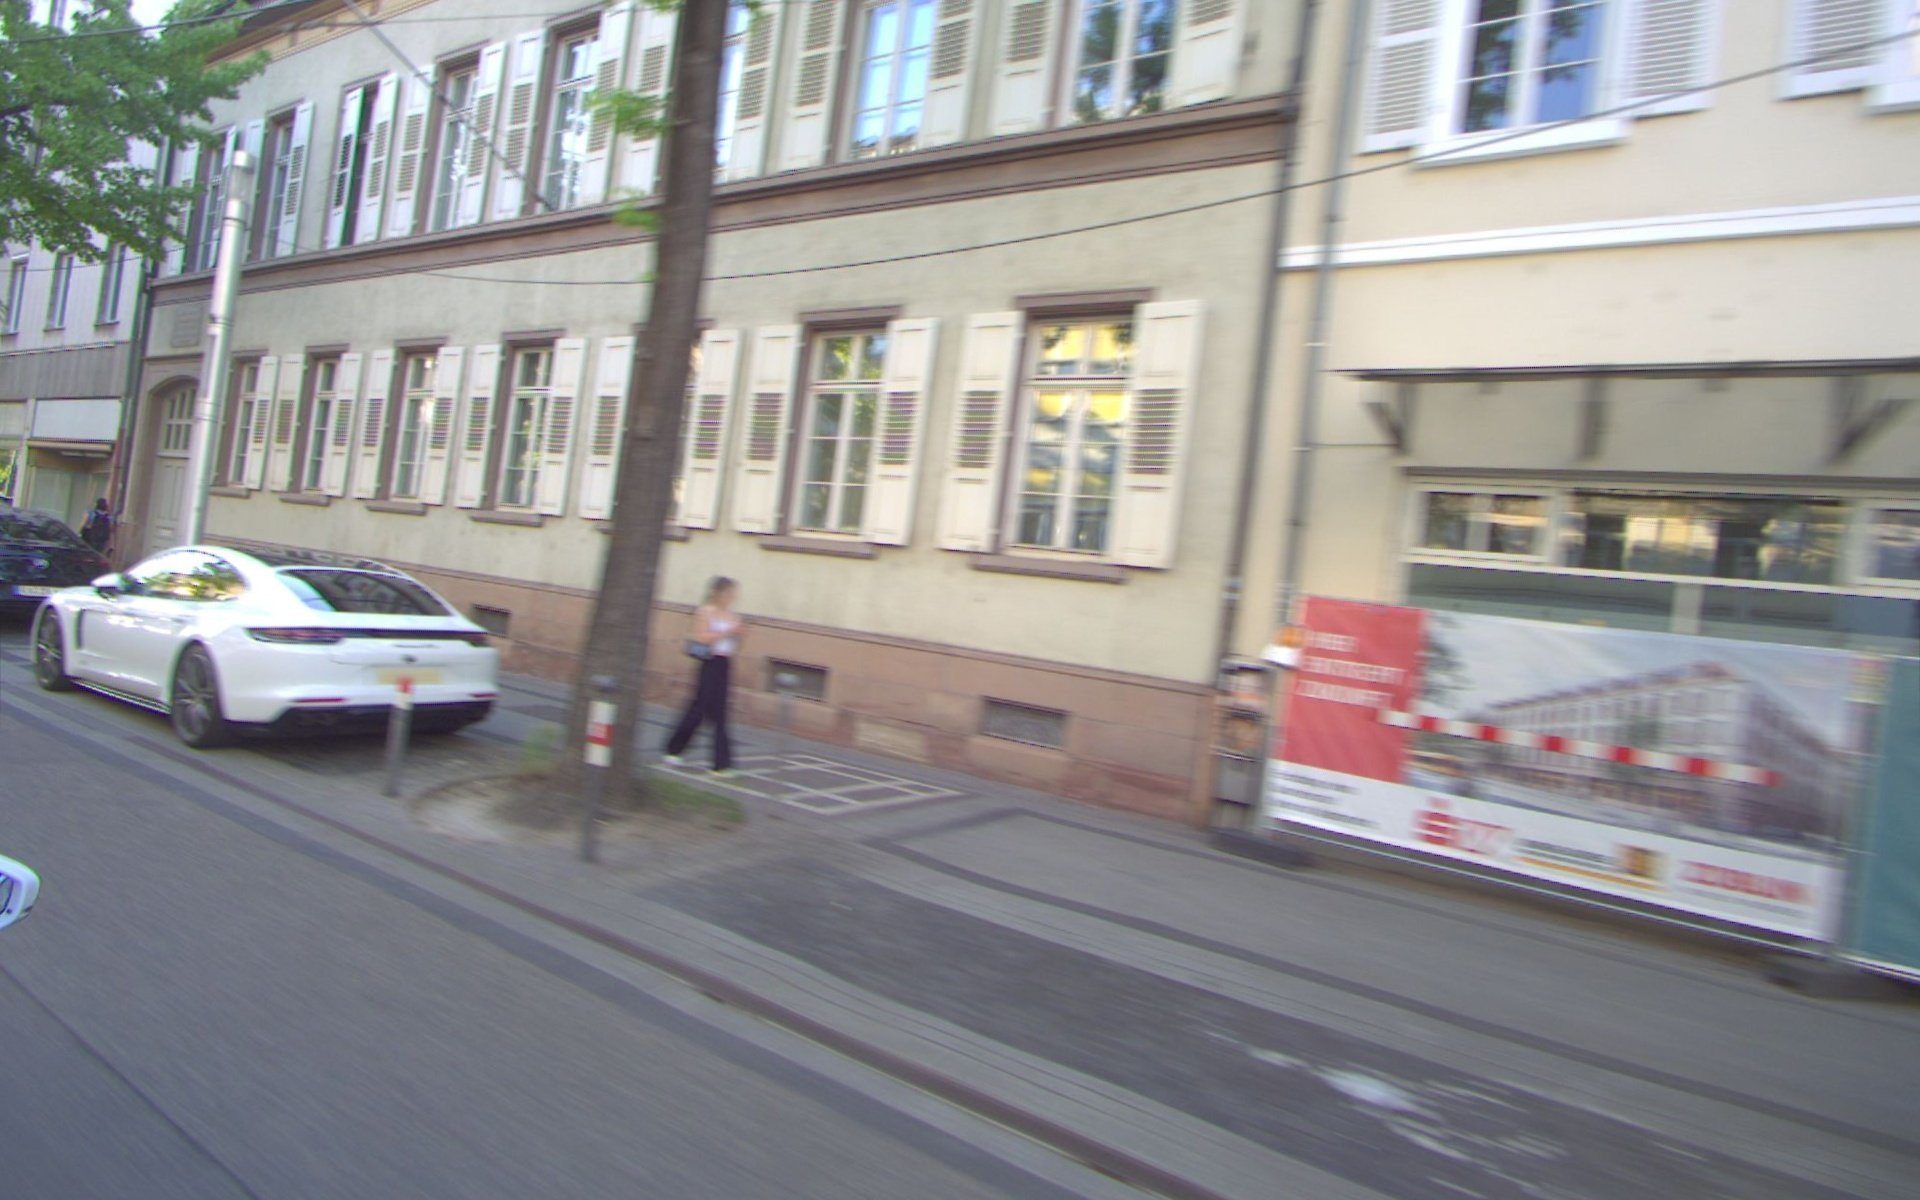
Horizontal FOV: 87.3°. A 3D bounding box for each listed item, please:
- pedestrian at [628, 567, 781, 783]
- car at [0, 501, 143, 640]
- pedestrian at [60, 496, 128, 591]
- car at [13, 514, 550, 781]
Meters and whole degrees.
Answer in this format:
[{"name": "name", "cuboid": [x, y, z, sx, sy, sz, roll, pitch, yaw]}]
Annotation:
[{"name": "pedestrian", "cuboid": [-2.067, 0.596, 8.160, 0.785, 1.592, 0.650, 7, -1, 32]}, {"name": "car", "cuboid": [-12.610, -0.531, 12.862, 4.682, 1.497, 1.835, 7, 1, 31]}, {"name": "pedestrian", "cuboid": [-16.500, -1.070, 19.162, 0.873, 1.686, 0.658, 7, 2, 31]}, {"name": "car", "cuboid": [-5.831, 0.246, 8.446, 4.807, 1.438, 1.914, 7, 1, 32]}]
